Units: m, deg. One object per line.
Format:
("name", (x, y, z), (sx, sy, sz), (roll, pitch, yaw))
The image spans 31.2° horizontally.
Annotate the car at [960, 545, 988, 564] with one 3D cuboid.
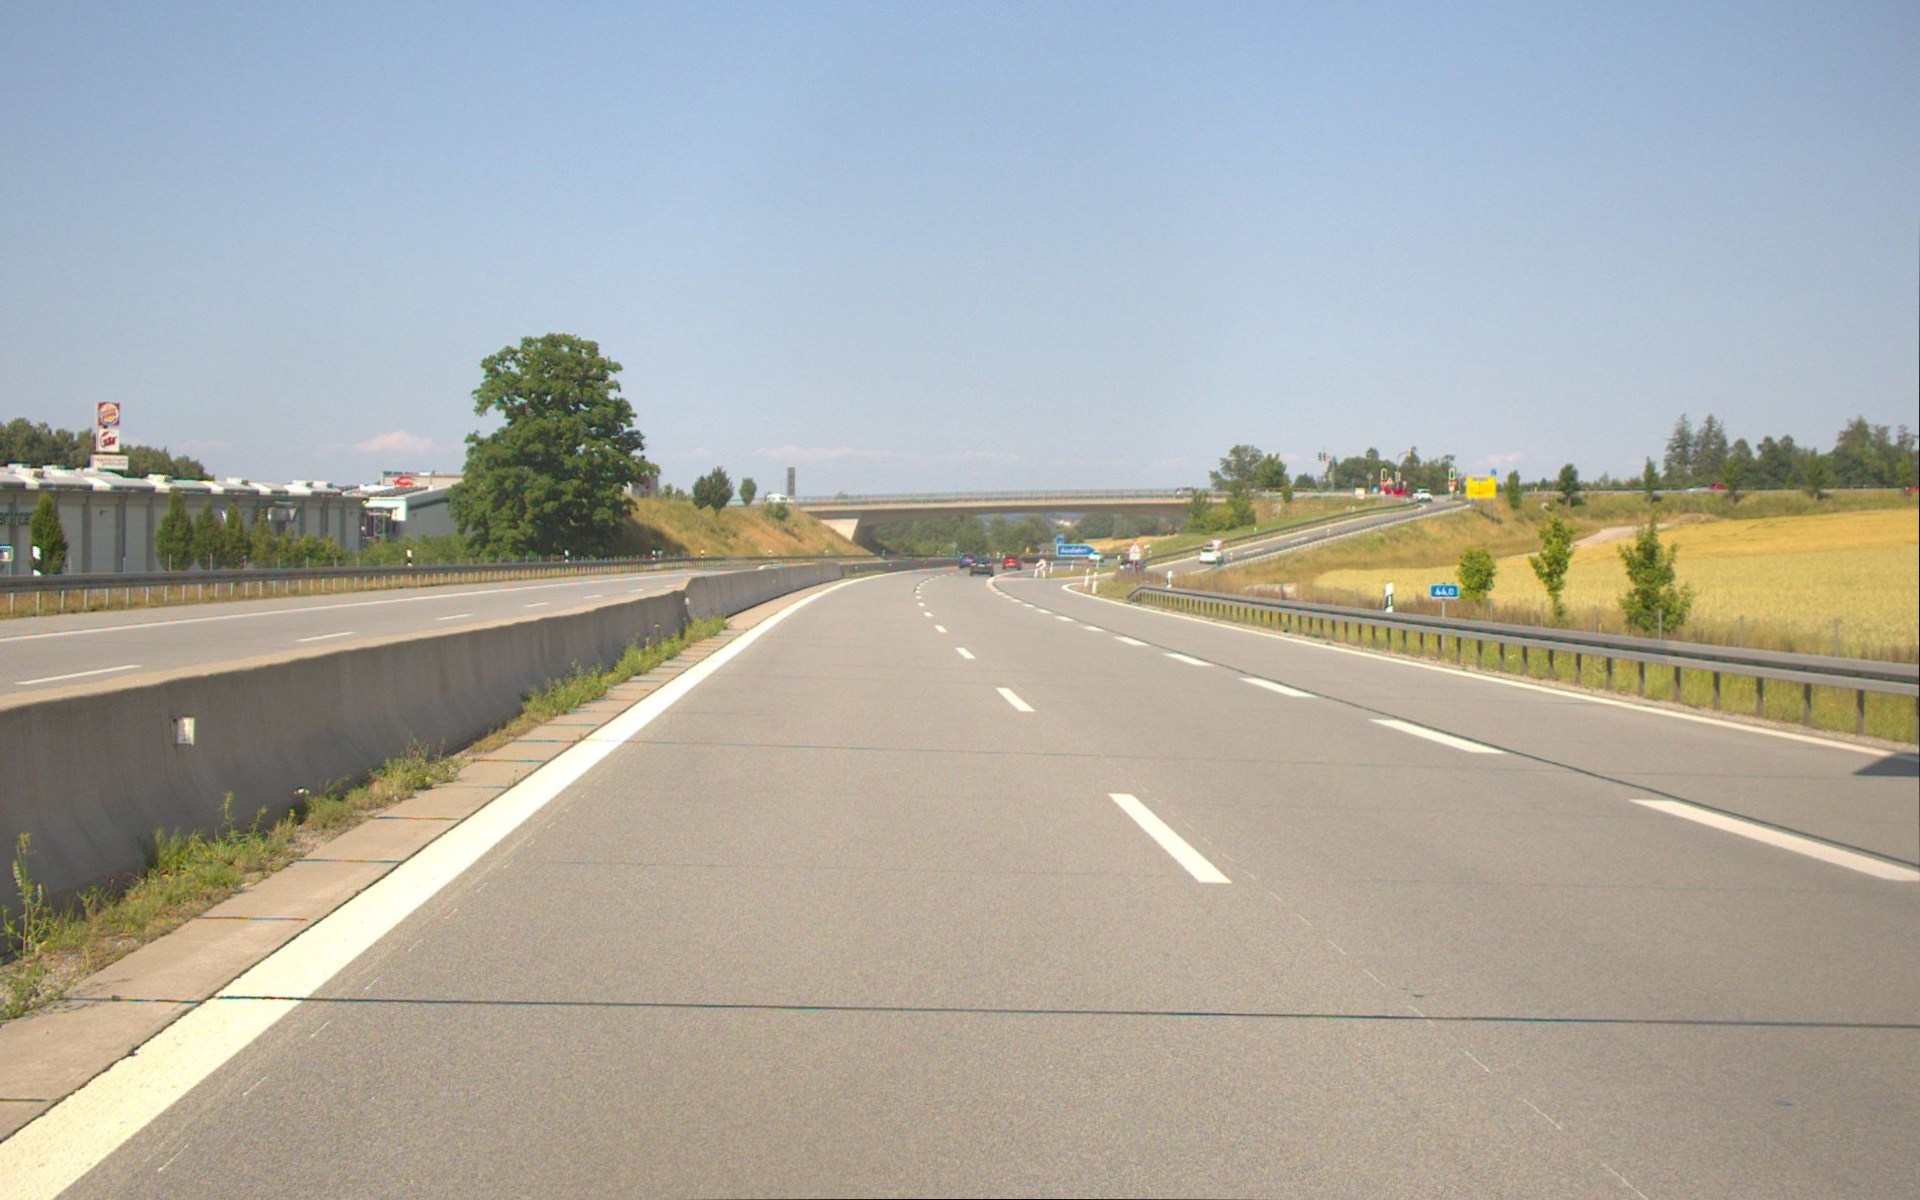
("car", (1.079, -3.450, 258.350), (1.994, 1.415, 4.000), (0, 1, 2))
